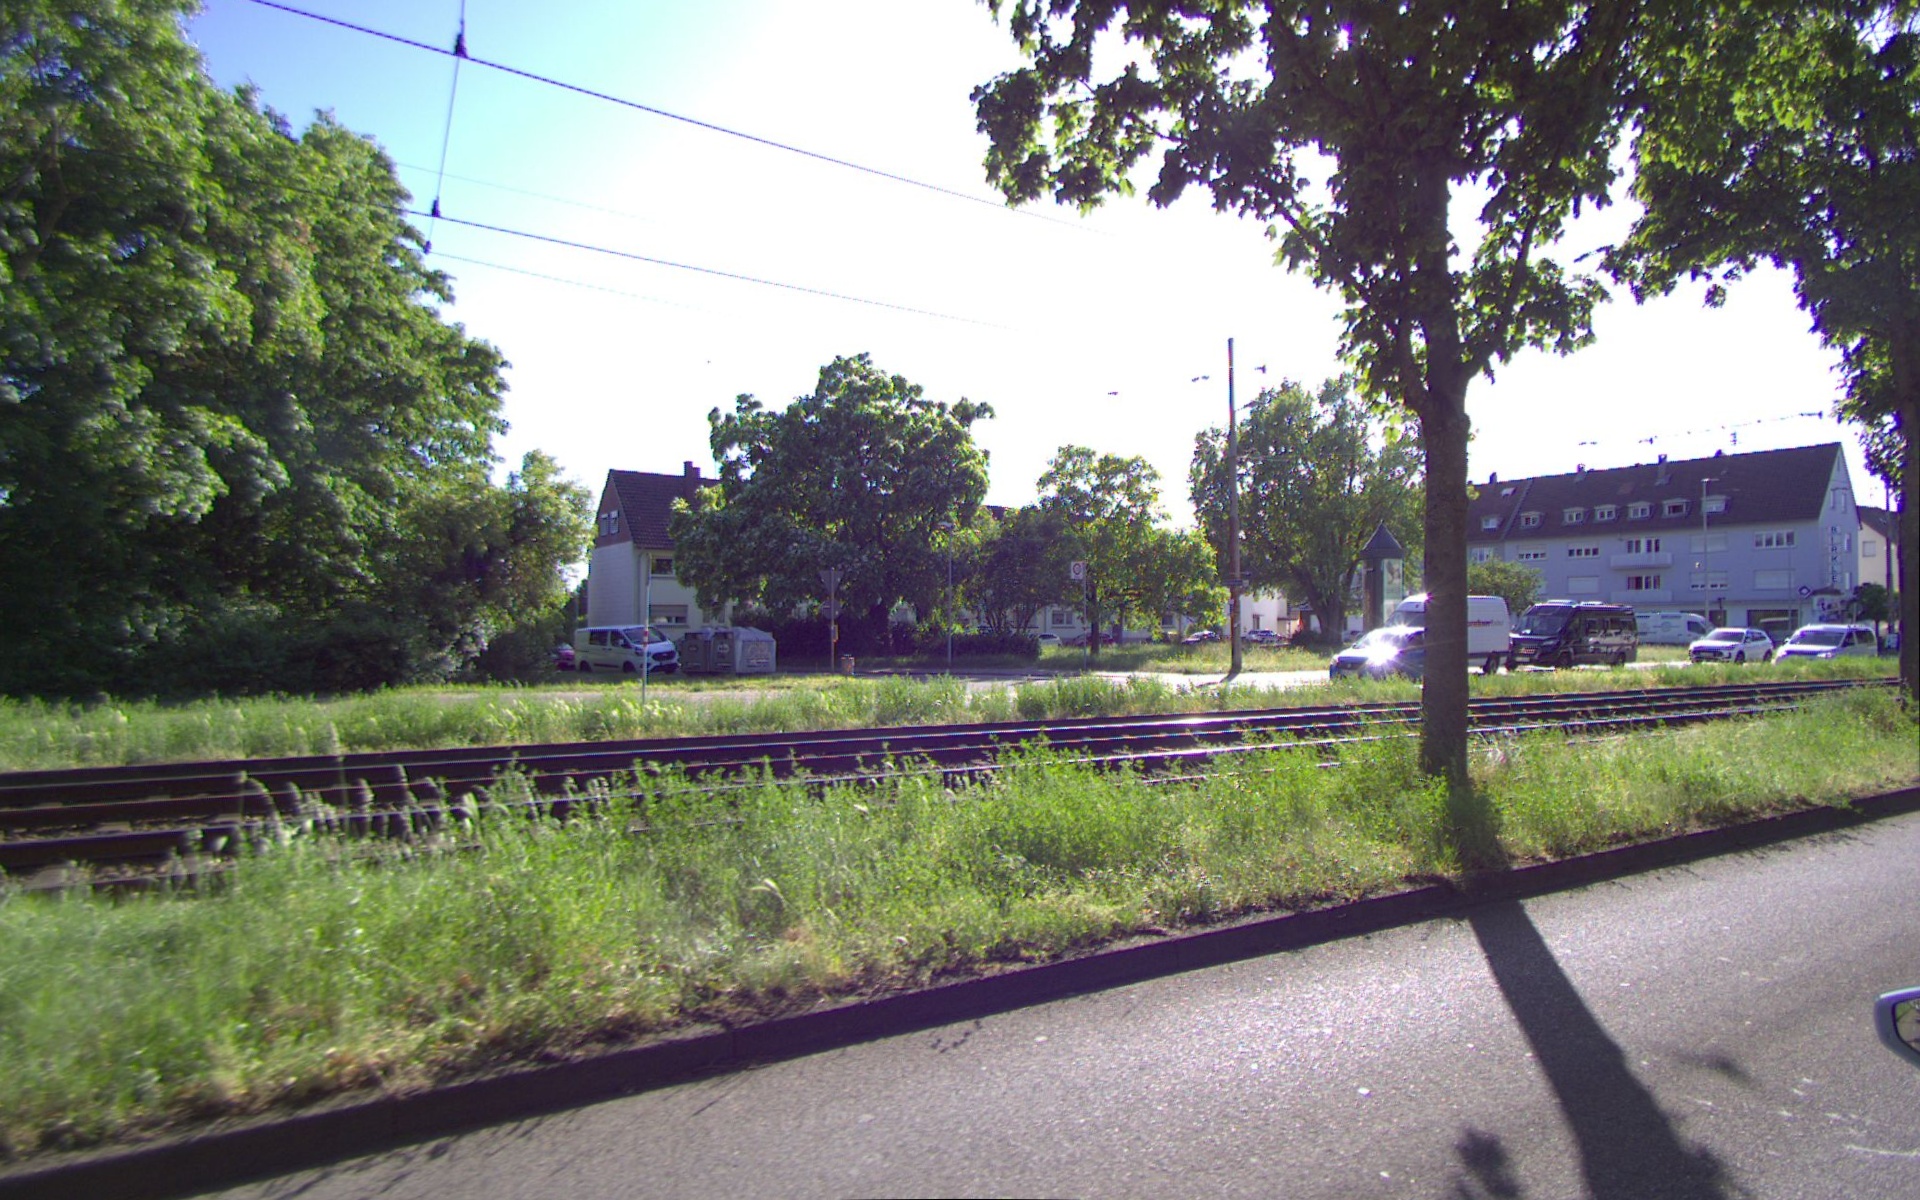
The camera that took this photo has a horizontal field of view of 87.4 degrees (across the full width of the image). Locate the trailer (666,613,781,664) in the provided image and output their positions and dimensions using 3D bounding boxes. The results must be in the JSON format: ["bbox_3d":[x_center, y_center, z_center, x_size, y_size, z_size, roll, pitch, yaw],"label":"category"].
[{"bbox_3d":[-7.562,1.256,32.031,3.704,1.524,1.745,-3,-3,40],"label":"trailer"}]

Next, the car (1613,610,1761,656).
[{"bbox_3d":[44.548,1.975,61.814,2.307,2.541,7.021,1,0,-34],"label":"car"}]

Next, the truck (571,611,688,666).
[{"bbox_3d":[-12.823,1.434,38.844,4.869,1.893,2.074,1,-1,41],"label":"truck"}]

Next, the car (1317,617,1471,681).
[{"bbox_3d":[10.664,1.191,24.614,3.777,1.413,1.549,2,0,-31],"label":"car"}]

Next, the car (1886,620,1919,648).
[{"bbox_3d":[69.310,2.422,71.647,1.984,1.971,4.578,2,-1,-40],"label":"car"}]

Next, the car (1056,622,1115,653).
[{"bbox_3d":[9.215,2.738,73.629,3.960,2.040,1.981,4,-2,-34],"label":"car"}]

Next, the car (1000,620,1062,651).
[{"bbox_3d":[4.988,2.483,70.488,3.961,2.040,1.980,2,-1,-36],"label":"car"}]

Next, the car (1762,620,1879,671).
[{"bbox_3d":[32.173,1.693,37.517,4.924,1.767,1.802,2,0,-31],"label":"car"}]

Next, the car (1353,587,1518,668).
[{"bbox_3d":[16.058,0.958,33.787,6.068,2.530,1.991,2,0,-31],"label":"car"}]

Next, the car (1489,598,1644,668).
[{"bbox_3d":[22.631,1.247,37.409,6.390,2.408,2.172,2,0,-31],"label":"car"}]

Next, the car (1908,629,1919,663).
[{"bbox_3d":[45.479,2.134,46.030,3.706,1.551,1.985,1,-1,-29],"label":"car"}]

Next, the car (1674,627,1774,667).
[{"bbox_3d":[33.709,2.084,44.288,4.718,1.628,1.814,2,0,-30],"label":"car"}]
